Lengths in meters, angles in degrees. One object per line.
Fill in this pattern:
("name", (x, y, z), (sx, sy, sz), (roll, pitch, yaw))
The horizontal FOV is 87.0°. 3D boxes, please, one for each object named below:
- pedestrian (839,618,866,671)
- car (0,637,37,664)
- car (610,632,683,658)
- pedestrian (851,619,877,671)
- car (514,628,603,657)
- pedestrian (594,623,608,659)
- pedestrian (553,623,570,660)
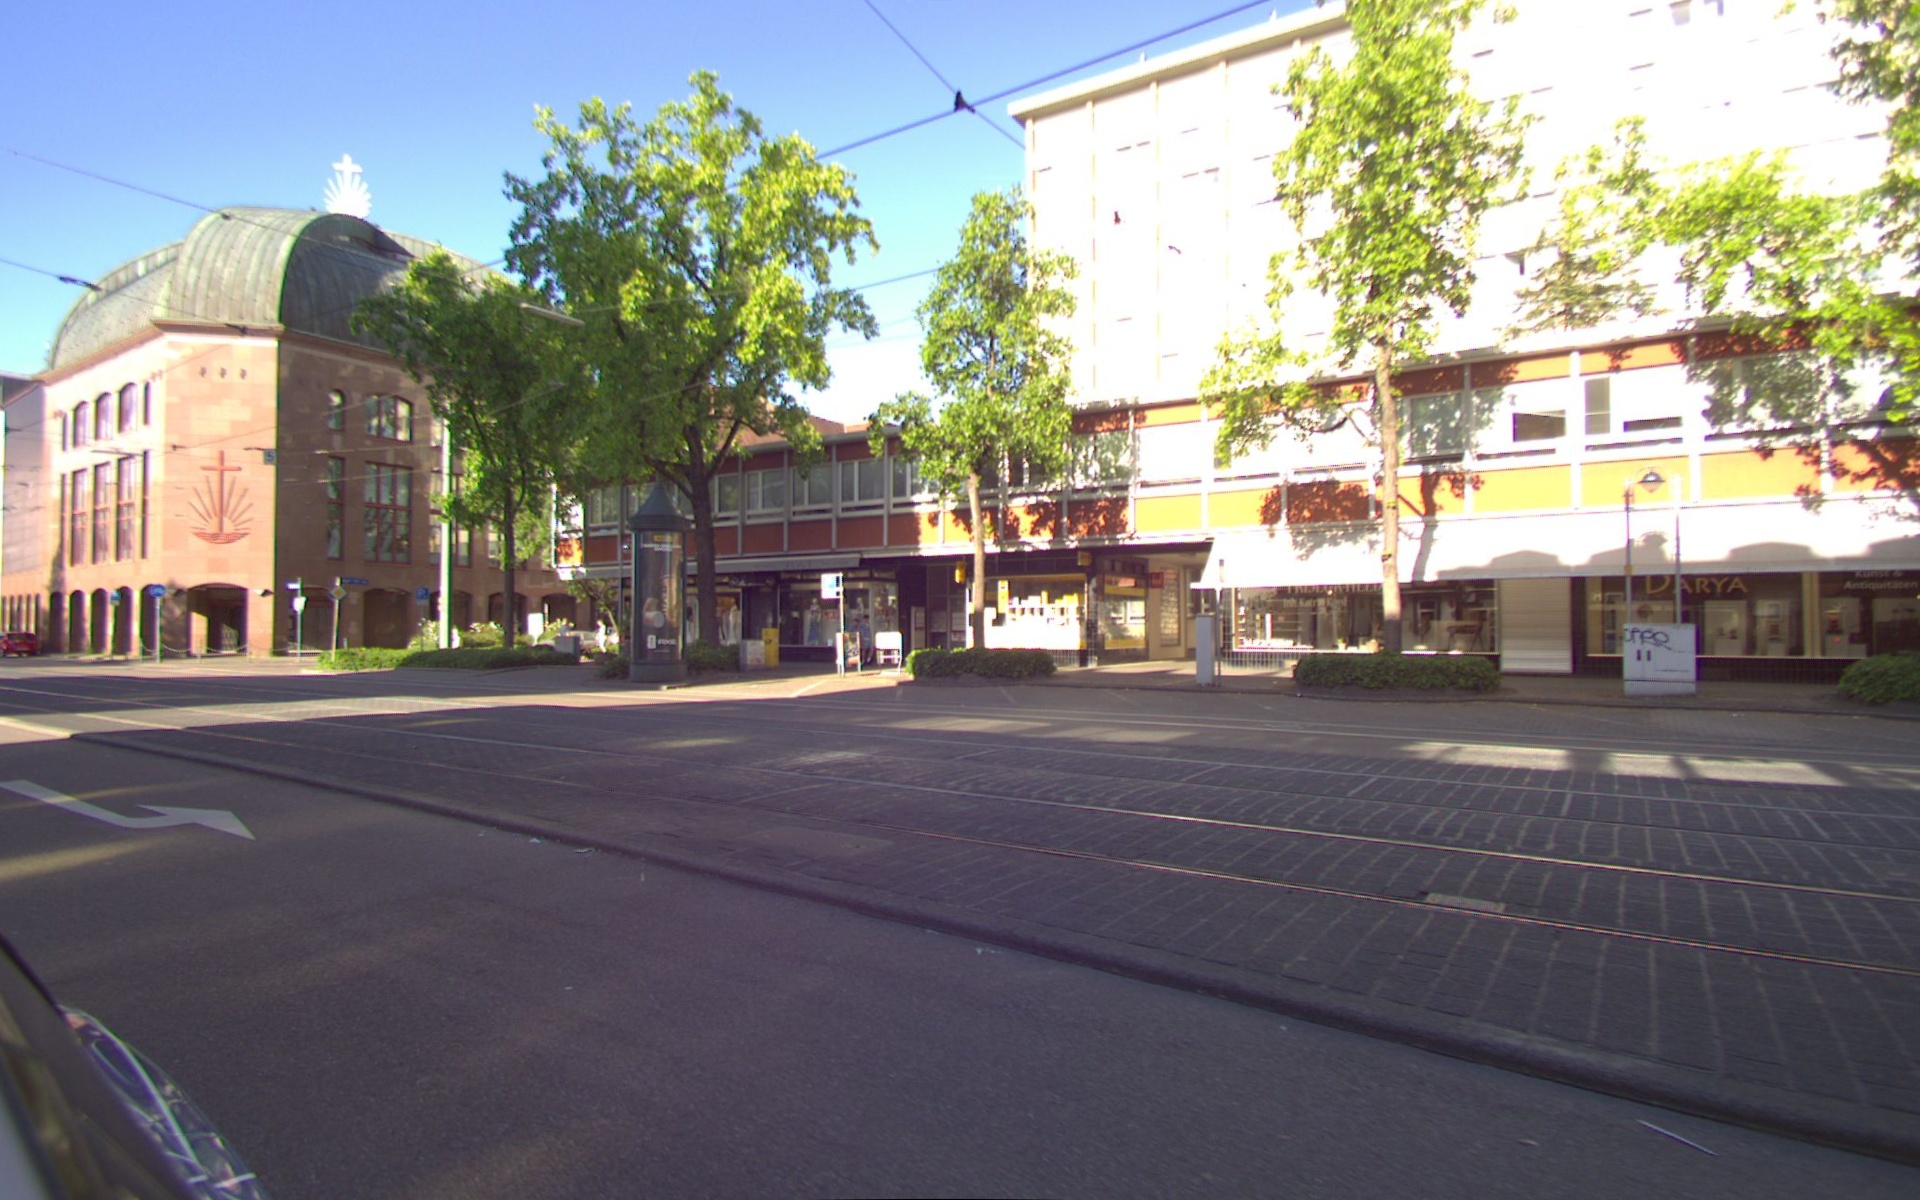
("pedestrian", (-3.649, 1.500, 34.441), (0.705, 1.785, 0.567), (-1, -2, 35))
("car", (-54.798, 2.894, 58.172), (3.461, 1.465, 1.735), (-1, -1, 33))
("car", (-19.414, 2.779, 62.824), (1.989, 1.542, 4.238), (-1, -2, 25))
("pedestrian", (-3.306, 1.546, 34.919), (0.705, 1.764, 0.567), (-1, -2, 35))
("car", (-22.350, 2.366, 56.477), (1.994, 1.542, 4.226), (-1, -3, 33))
("pedestrian", (-16.235, 1.859, 45.716), (0.439, 1.604, 0.724), (1, -3, -30))
("pedestrian", (-17.574, 1.826, 44.627), (0.722, 1.604, 0.441), (-2, -3, 44))
